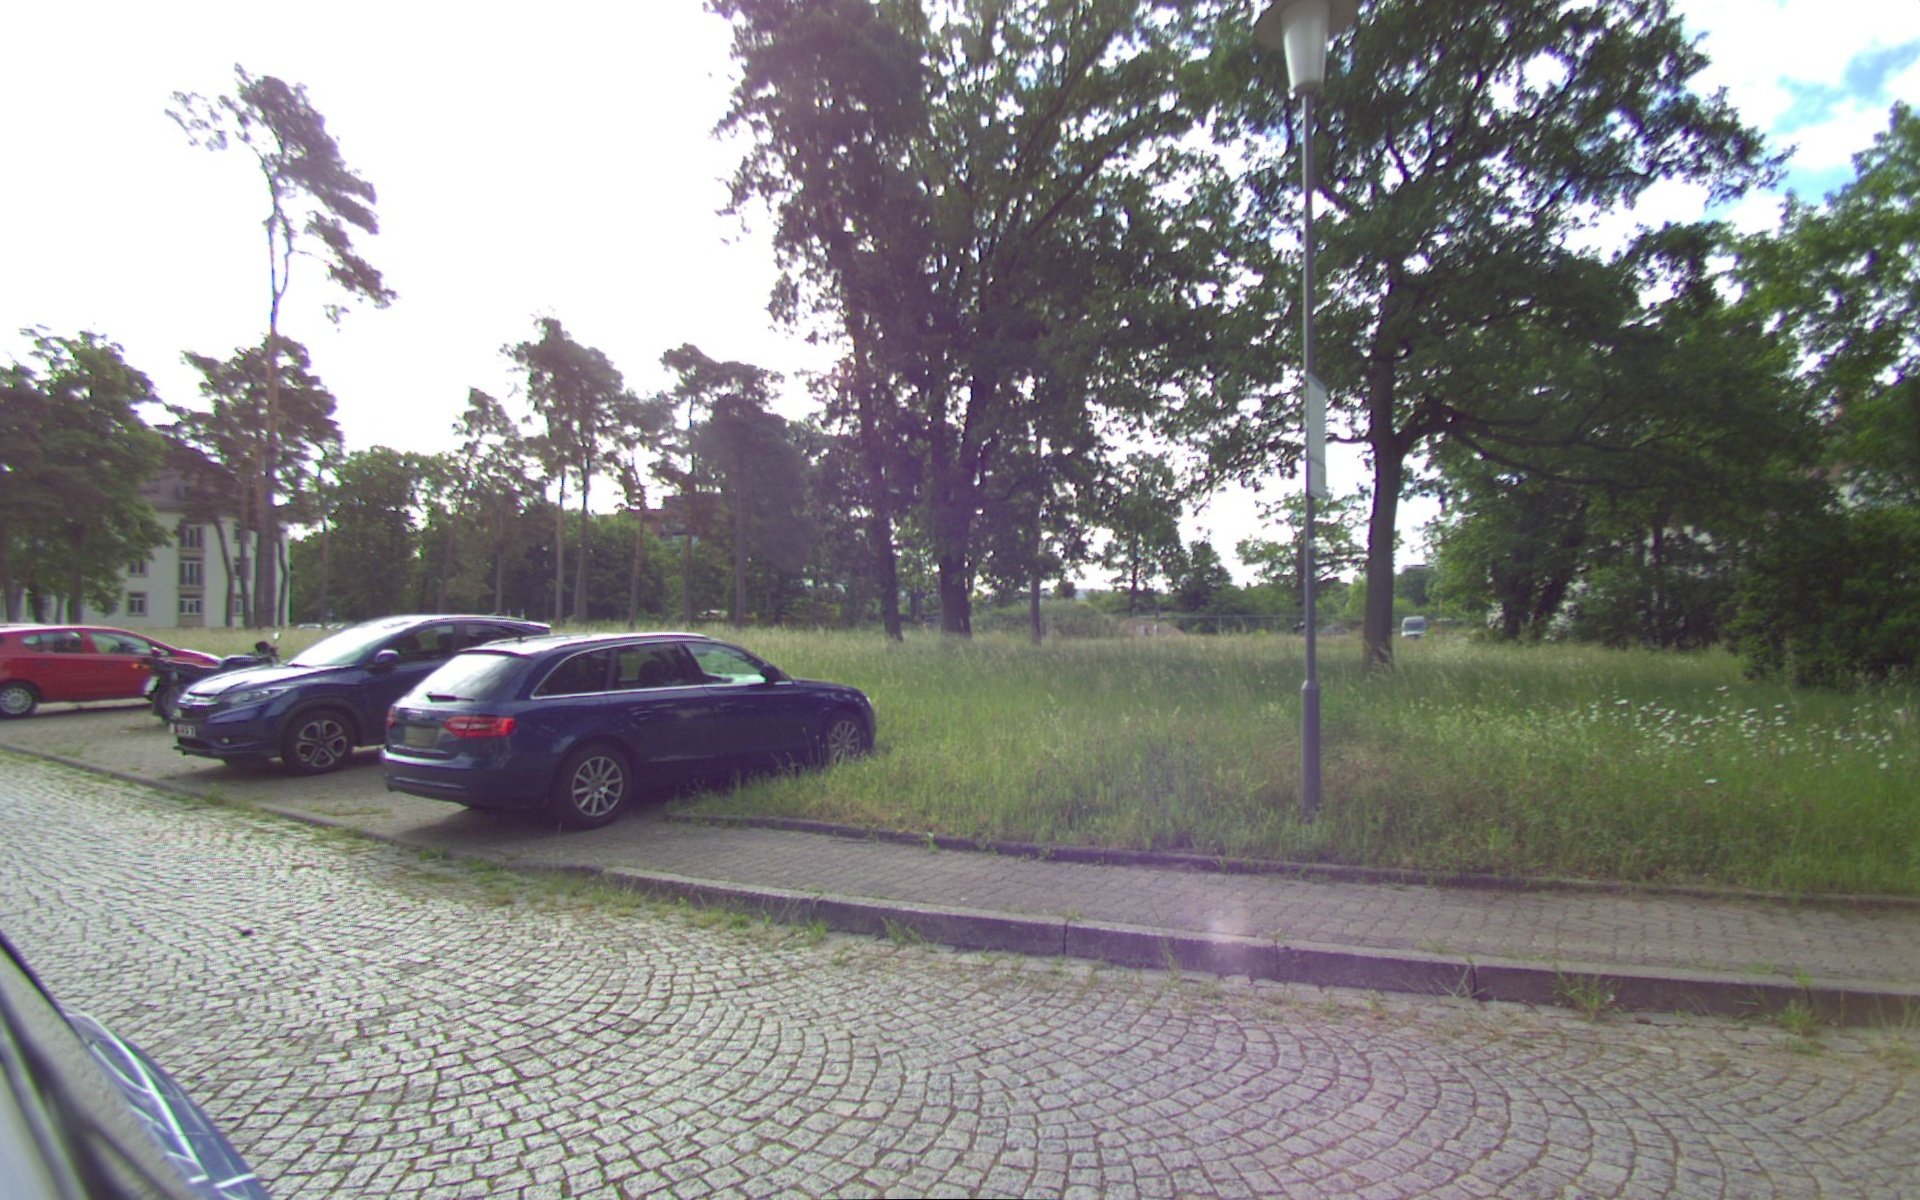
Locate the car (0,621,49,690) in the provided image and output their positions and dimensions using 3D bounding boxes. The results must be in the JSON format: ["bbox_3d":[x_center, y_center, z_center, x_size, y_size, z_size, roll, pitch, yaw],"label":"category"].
[{"bbox_3d":[-23.626,1.283,23.082,1.814,1.616,3.878,-1,-2,30],"label":"car"}]

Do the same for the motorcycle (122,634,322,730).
[{"bbox_3d":[-11.128,1.191,15.365,0.741,1.298,2.336,-1,-1,33],"label":"motorcycle"}]

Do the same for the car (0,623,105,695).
[{"bbox_3d":[-21.234,1.282,21.860,1.702,1.532,3.909,-2,-2,33],"label":"car"}]

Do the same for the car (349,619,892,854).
[{"bbox_3d":[-2.658,0.945,8.917,1.679,1.491,4.391,-1,-1,36],"label":"car"}]

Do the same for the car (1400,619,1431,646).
[{"bbox_3d":[39.756,2.800,88.262,2.031,2.028,4.186,0,2,30],"label":"car"}]

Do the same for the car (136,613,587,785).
[{"bbox_3d":[-6.583,0.948,11.612,1.784,1.585,4.106,0,-1,32],"label":"car"}]

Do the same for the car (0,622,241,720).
[{"bbox_3d":[-15.013,1.154,17.537,1.666,1.490,3.854,-1,-1,32],"label":"car"}]
